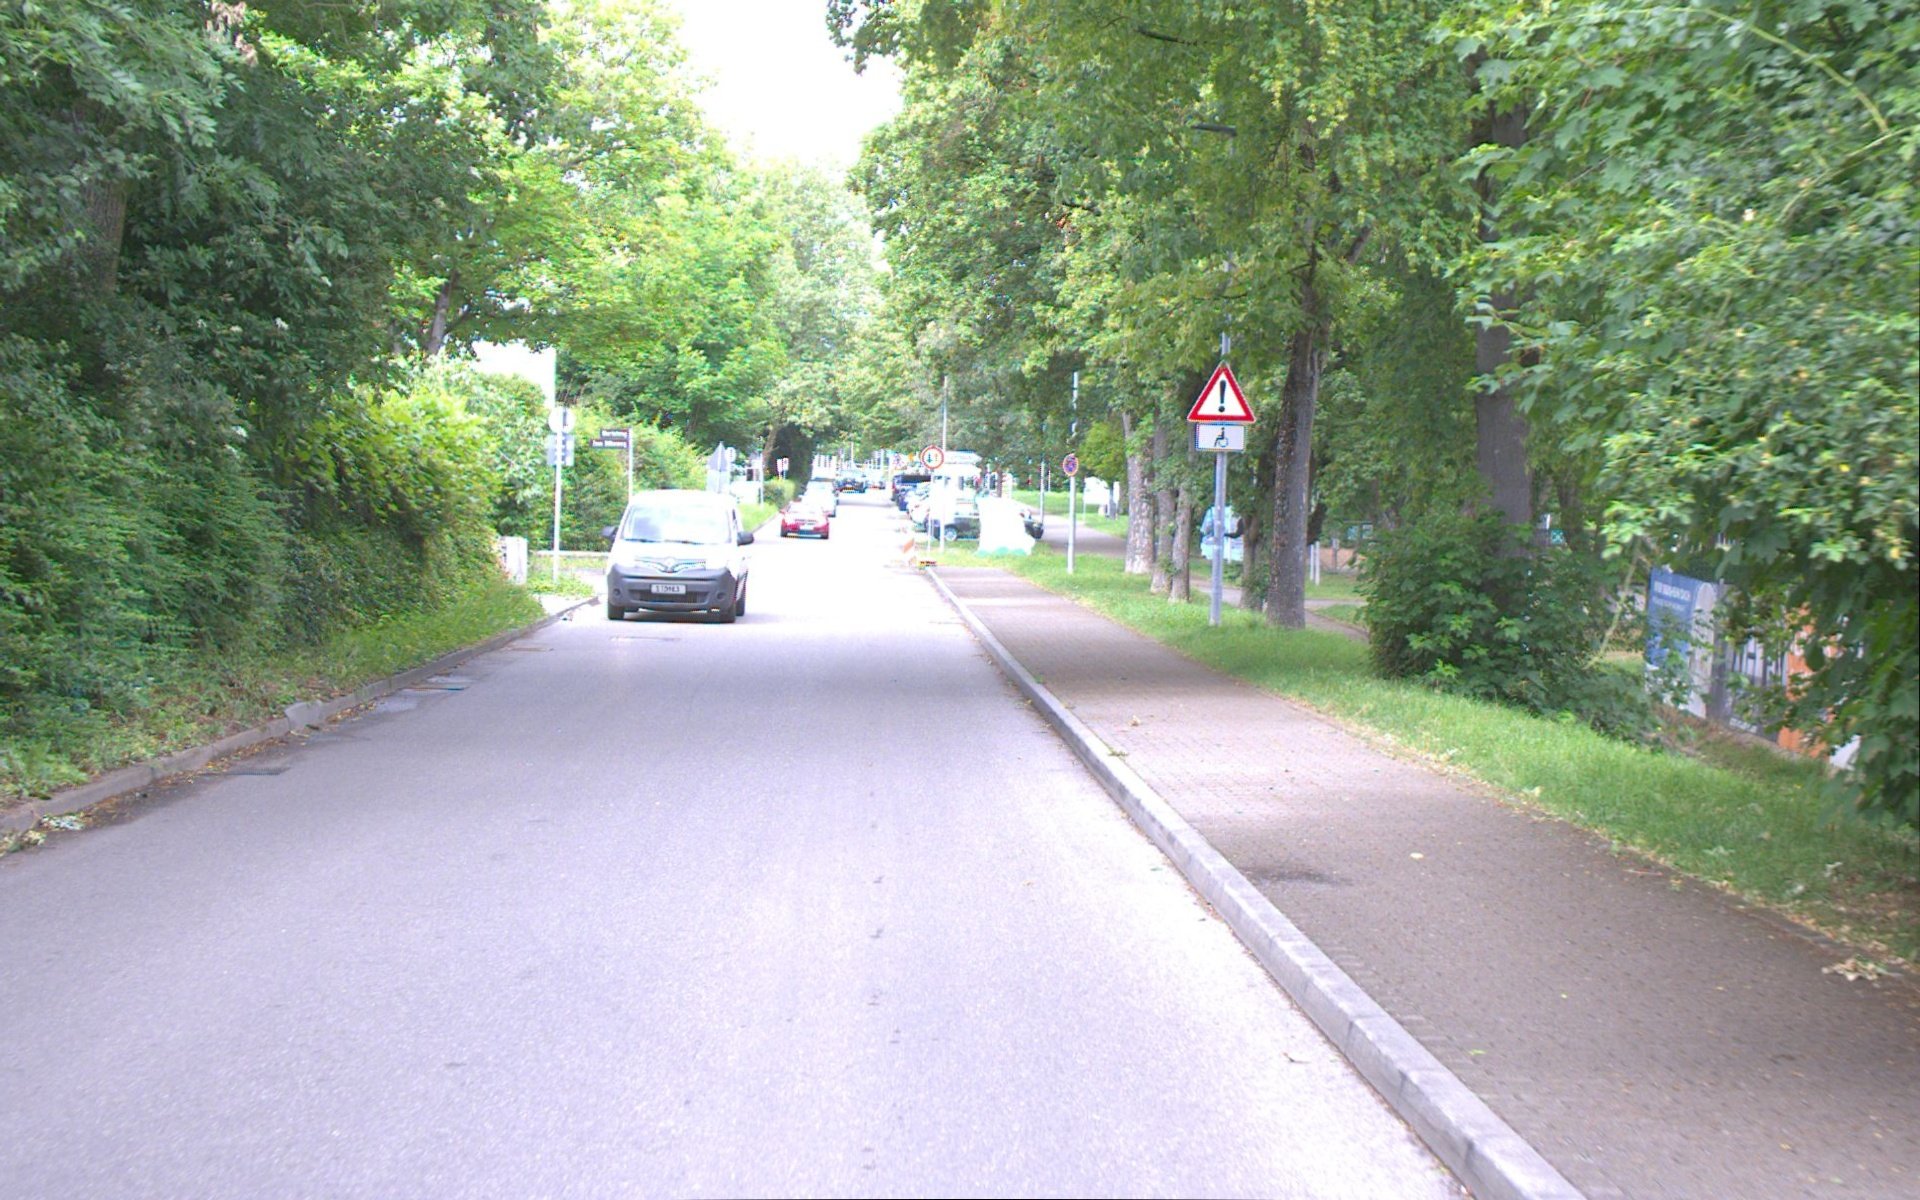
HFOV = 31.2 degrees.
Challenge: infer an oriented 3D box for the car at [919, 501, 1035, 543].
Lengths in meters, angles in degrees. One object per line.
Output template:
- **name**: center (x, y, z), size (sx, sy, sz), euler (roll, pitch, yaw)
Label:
- **car**: center (0.607, -2.802, 123.222), size (4.062, 1.429, 2.000), euler (0, 0, -2)

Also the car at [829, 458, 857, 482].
- **car**: center (-8.674, -9.649, 255.436), size (1.968, 1.741, 4.339), euler (2, 2, -3)

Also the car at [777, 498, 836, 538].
- **car**: center (-5.589, -2.998, 125.101), size (1.750, 1.331, 4.067), euler (2, 2, -8)

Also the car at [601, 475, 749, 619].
- **car**: center (-3.946, -0.733, 48.181), size (1.873, 1.907, 4.432), euler (0, 1, -2)
